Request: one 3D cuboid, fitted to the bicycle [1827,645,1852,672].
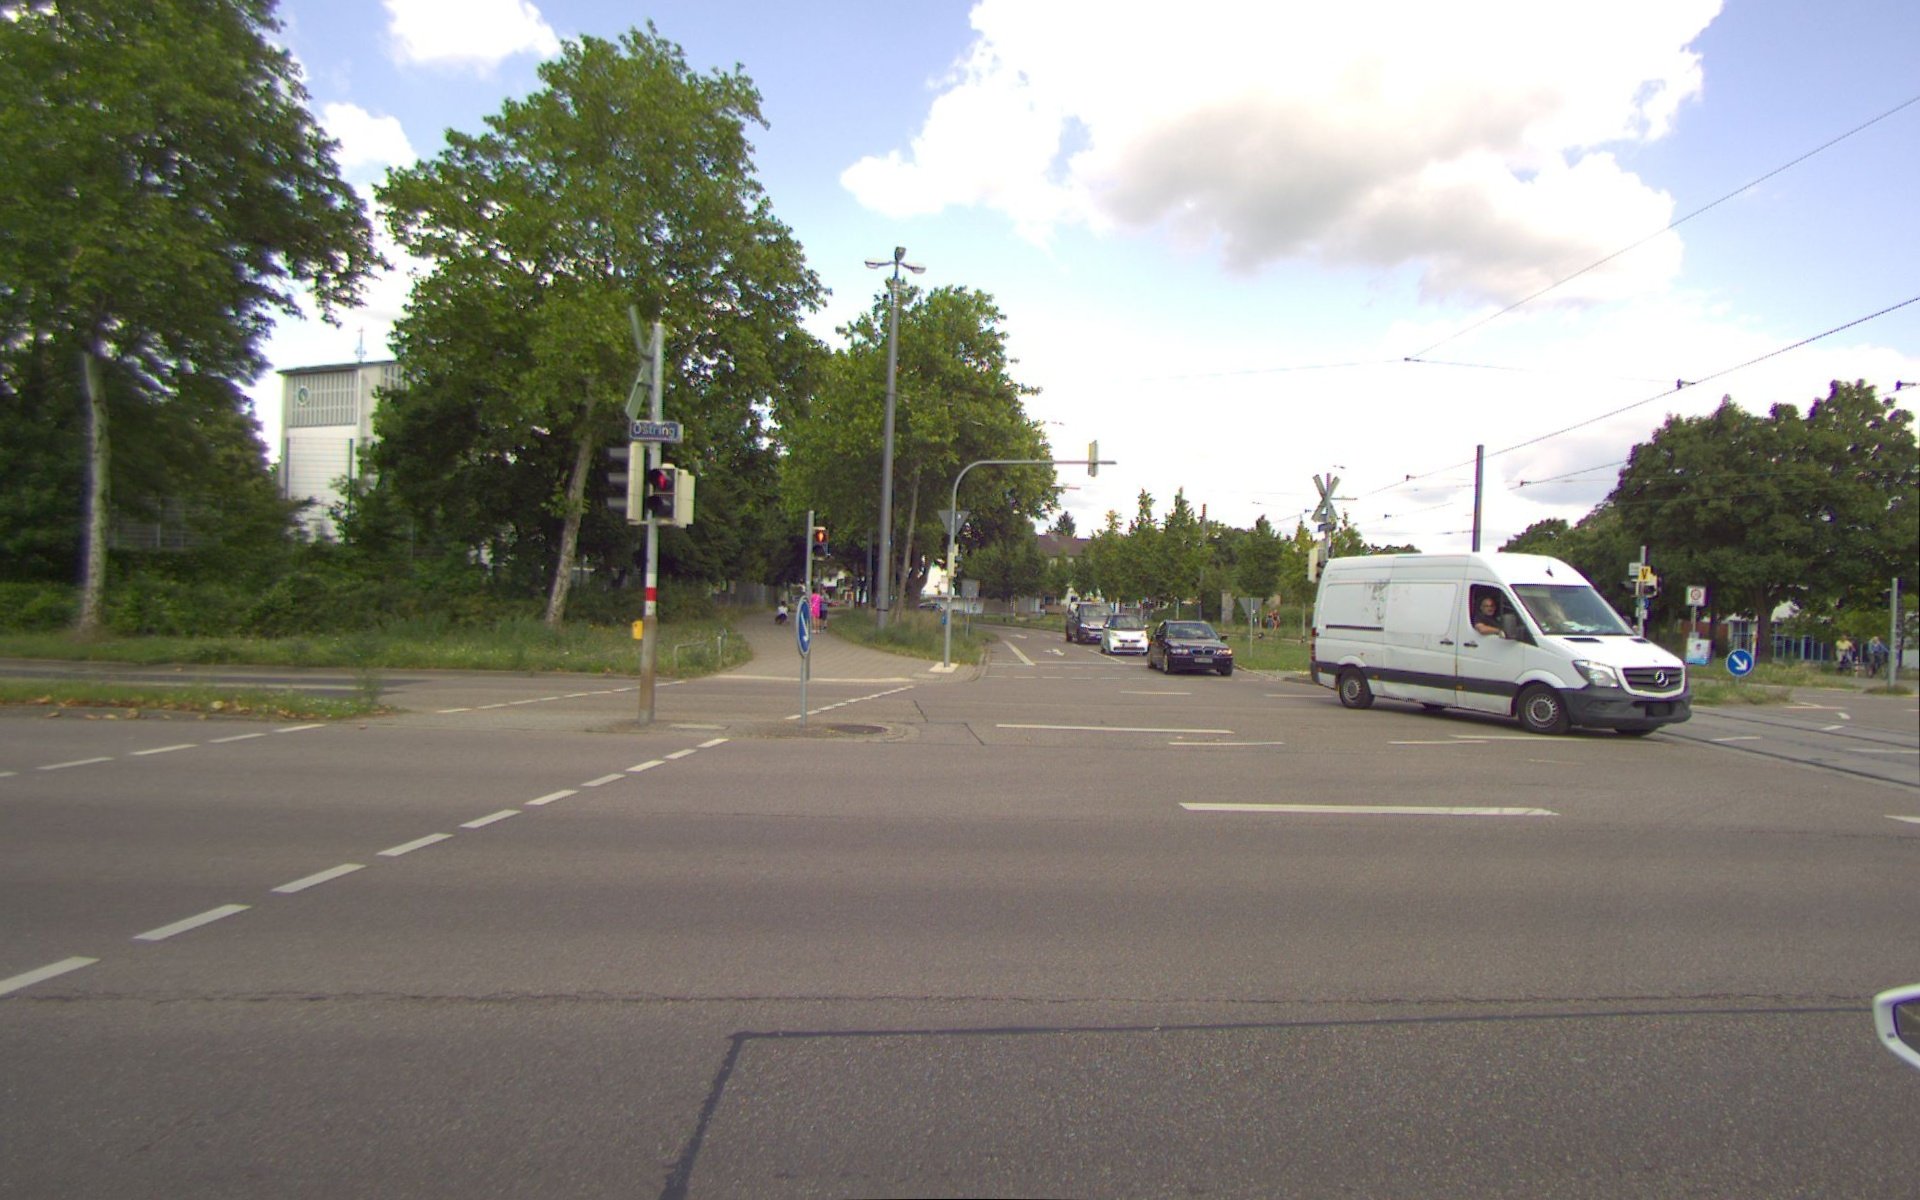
[{"bbox_3d":[39.080,2.591,44.622,0.552,1.145,1.377,2,0,30],"label":"bicycle"}]

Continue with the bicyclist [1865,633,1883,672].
[{"bbox_3d":[37.986,2.178,41.753,0.480,1.574,0.553,2,-2,42],"label":"bicyclist"}]

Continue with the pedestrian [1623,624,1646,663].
[{"bbox_3d":[29.636,1.914,44.141,0.603,1.666,0.636,0,0,-17],"label":"pedestrian"}]

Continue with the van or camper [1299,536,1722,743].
[{"bbox_3d":[7.988,0.515,15.561,1.951,2.558,6.014,2,0,-17],"label":"van or camper"}]

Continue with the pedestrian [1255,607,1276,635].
[{"bbox_3d":[23.156,1.562,76.073,1.086,2.040,1.175,2,0,-8],"label":"pedestrian"}]

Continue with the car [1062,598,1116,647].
[{"bbox_3d":[6.135,1.023,48.065,1.819,2.184,4.382,2,0,-2],"label":"car"}]

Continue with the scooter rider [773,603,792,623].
[{"bbox_3d":[-6.822,0.491,38.604,0.600,0.738,0.859,0,0,-2],"label":"scooter rider"}]

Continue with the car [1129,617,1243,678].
[{"bbox_3d":[5.941,1.214,26.927,1.777,1.450,4.467,2,-1,-3],"label":"car"}]

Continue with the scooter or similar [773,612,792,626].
[{"bbox_3d":[-6.824,0.737,38.606,0.599,0.518,0.857,0,0,-2],"label":"scooter or similar"}]

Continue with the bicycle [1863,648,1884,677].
[{"bbox_3d":[37.978,2.601,41.756,0.554,1.145,1.373,4,0,41],"label":"bicycle"}]

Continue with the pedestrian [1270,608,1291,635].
[{"bbox_3d":[24.322,1.614,76.244,1.086,2.040,1.175,2,0,-9],"label":"pedestrian"}]

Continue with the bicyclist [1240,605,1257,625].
[{"bbox_3d":[23.263,1.208,80.900,0.949,1.509,0.832,2,0,-21],"label":"bicyclist"}]

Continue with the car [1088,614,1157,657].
[{"bbox_3d":[6.187,1.316,38.725,1.776,1.450,4.382,2,0,-2],"label":"car"}]

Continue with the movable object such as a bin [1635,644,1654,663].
[{"bbox_3d":[29.768,2.322,43.674,0.570,0.822,0.458,0,0,-18],"label":"movable object such as a bin"}]

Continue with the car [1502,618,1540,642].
[{"bbox_3d":[42.937,2.275,76.986,1.961,1.662,4.389,2,0,22],"label":"car"}]

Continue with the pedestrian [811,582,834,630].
[{"bbox_3d":[-4.833,0.205,35.370,0.620,1.641,0.611,1,0,6],"label":"pedestrian"}]

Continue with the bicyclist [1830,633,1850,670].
[{"bbox_3d":[39.097,2.287,44.620,0.478,1.574,0.555,3,1,30],"label":"bicyclist"}]

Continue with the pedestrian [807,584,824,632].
[{"bbox_3d":[-4.988,0.284,34.654,0.413,1.641,0.596,1,0,6],"label":"pedestrian"}]

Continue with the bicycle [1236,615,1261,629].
[{"bbox_3d":[23.250,1.802,80.937,0.938,1.054,1.973,2,0,-22],"label":"bicycle"}]

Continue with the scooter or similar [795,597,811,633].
[{"bbox_3d":[-5.411,0.520,34.684,0.315,1.248,0.776,0,0,8],"label":"scooter or similar"}]
